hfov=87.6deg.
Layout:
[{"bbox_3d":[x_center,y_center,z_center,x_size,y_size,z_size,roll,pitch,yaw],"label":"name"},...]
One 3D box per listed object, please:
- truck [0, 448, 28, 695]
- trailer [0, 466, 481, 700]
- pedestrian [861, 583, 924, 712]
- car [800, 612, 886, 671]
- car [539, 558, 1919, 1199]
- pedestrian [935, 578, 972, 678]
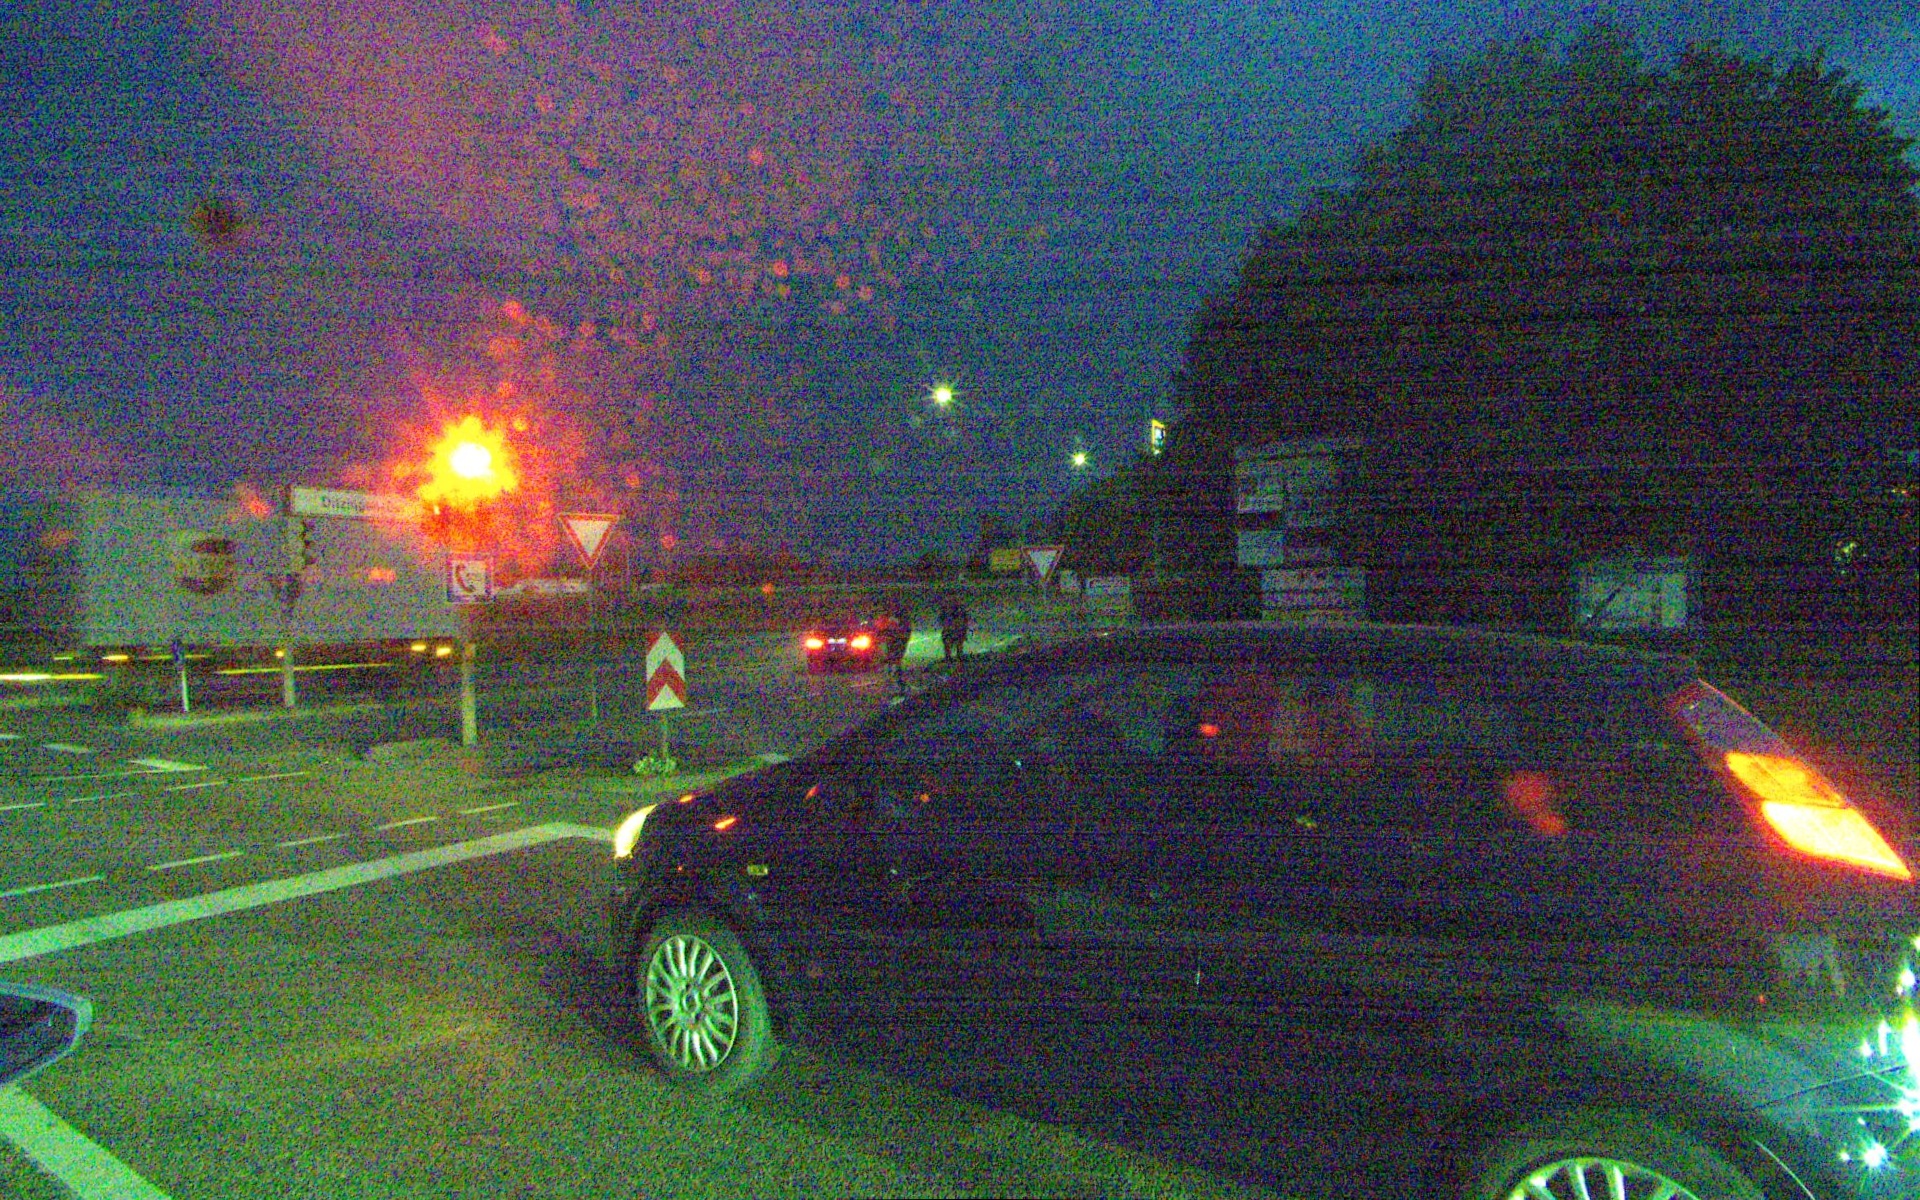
[{"bbox_3d":[-19.168,-0.516,12.933,2.687,4.171,10.324,-1,-1,20],"label":"truck"},{"bbox_3d":[-15.155,-0.335,21.654,2.545,3.996,8.839,0,1,28],"label":"trailer"},{"bbox_3d":[-1.094,0.764,16.355,0.704,2.039,0.776,-1,-1,33],"label":"pedestrian"},{"bbox_3d":[-3.056,1.111,26.924,1.774,1.461,4.002,0,-2,1],"label":"car"},{"bbox_3d":[0.471,0.757,3.255,3.663,1.557,1.655,-1,-1,33],"label":"car"},{"bbox_3d":[-0.135,0.584,20.926,0.700,2.039,0.781,0,-1,-6],"label":"pedestrian"}]
